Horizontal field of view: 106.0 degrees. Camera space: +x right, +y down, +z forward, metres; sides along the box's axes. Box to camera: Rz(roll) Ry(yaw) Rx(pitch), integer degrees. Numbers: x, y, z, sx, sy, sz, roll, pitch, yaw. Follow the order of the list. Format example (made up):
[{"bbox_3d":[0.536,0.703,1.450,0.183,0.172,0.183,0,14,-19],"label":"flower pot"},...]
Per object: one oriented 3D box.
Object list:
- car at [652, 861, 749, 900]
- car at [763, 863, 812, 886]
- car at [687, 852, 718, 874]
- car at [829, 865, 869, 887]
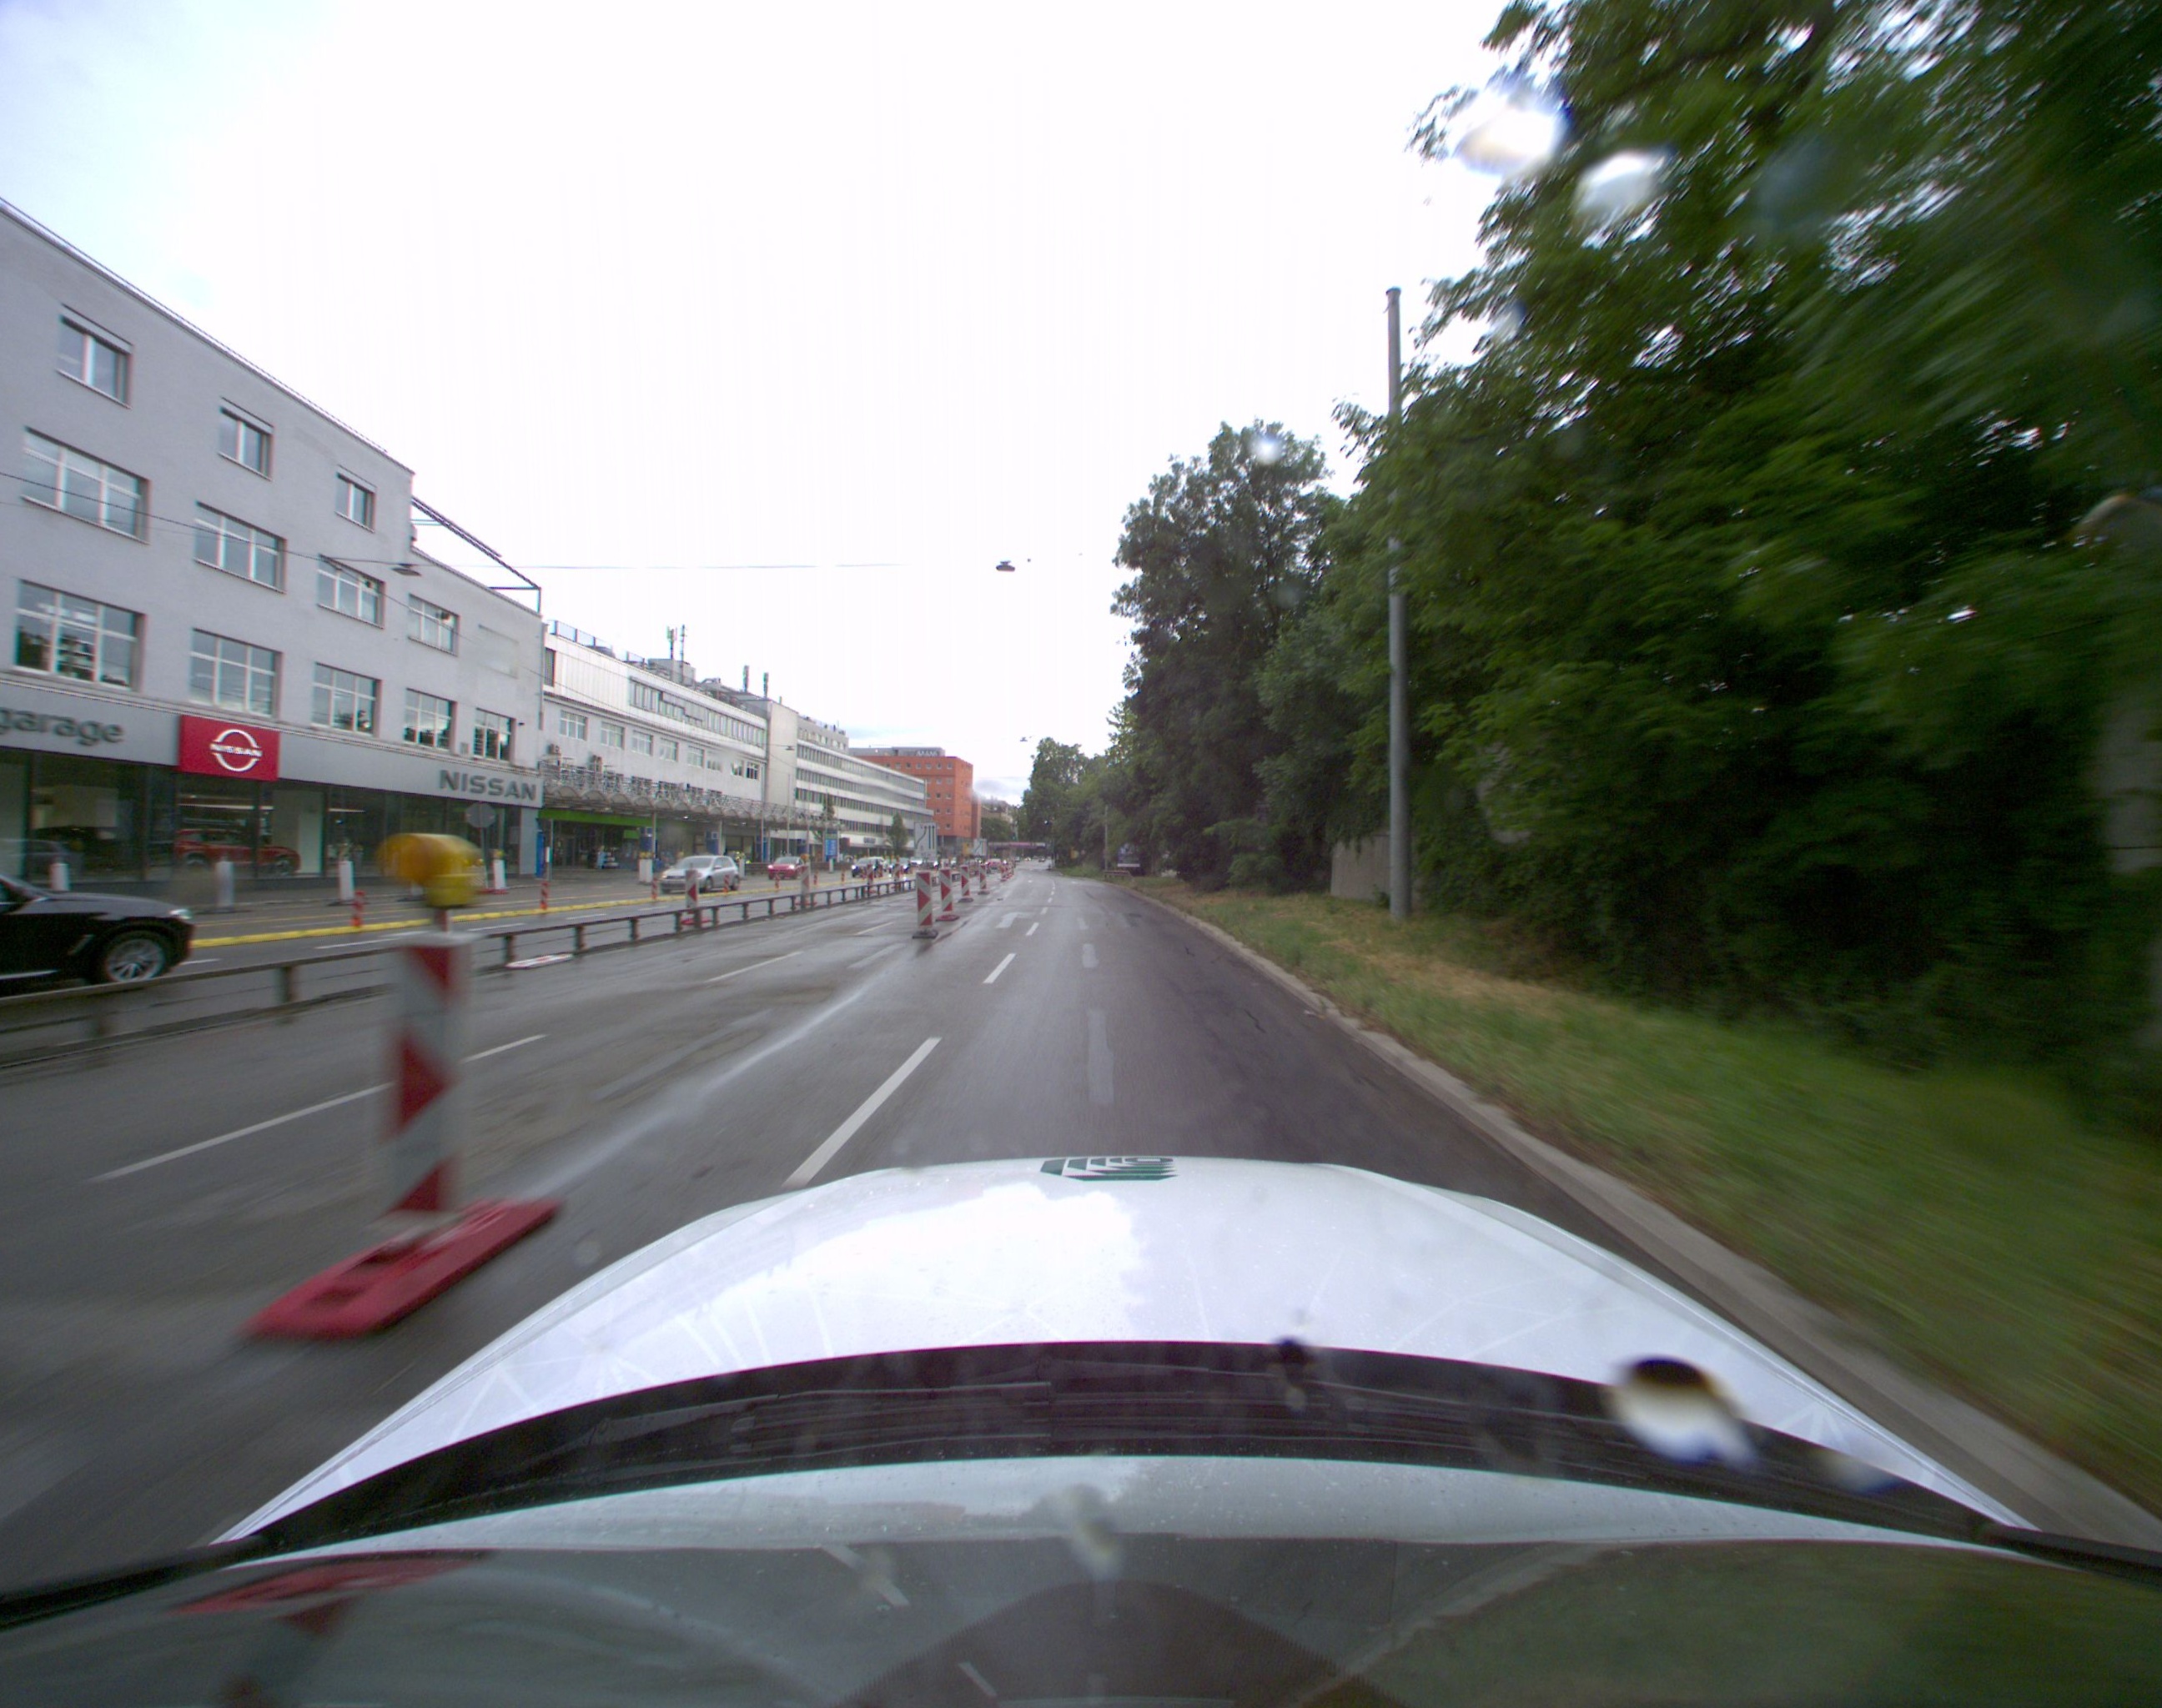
[{"bbox_3d":[-14.999,0.986,32.364,1.774,1.381,4.454,-1,0,-1],"label":"car"},{"bbox_3d":[-18.917,1.302,52.635,1.774,1.381,3.999,-1,0,-1],"label":"car"},{"bbox_3d":[-31.025,0.754,66.714,1.812,1.655,3.960,3,-1,-32],"label":"car"},{"bbox_3d":[-15.884,1.499,55.953,1.775,1.381,3.995,-1,0,-3],"label":"car"}]
